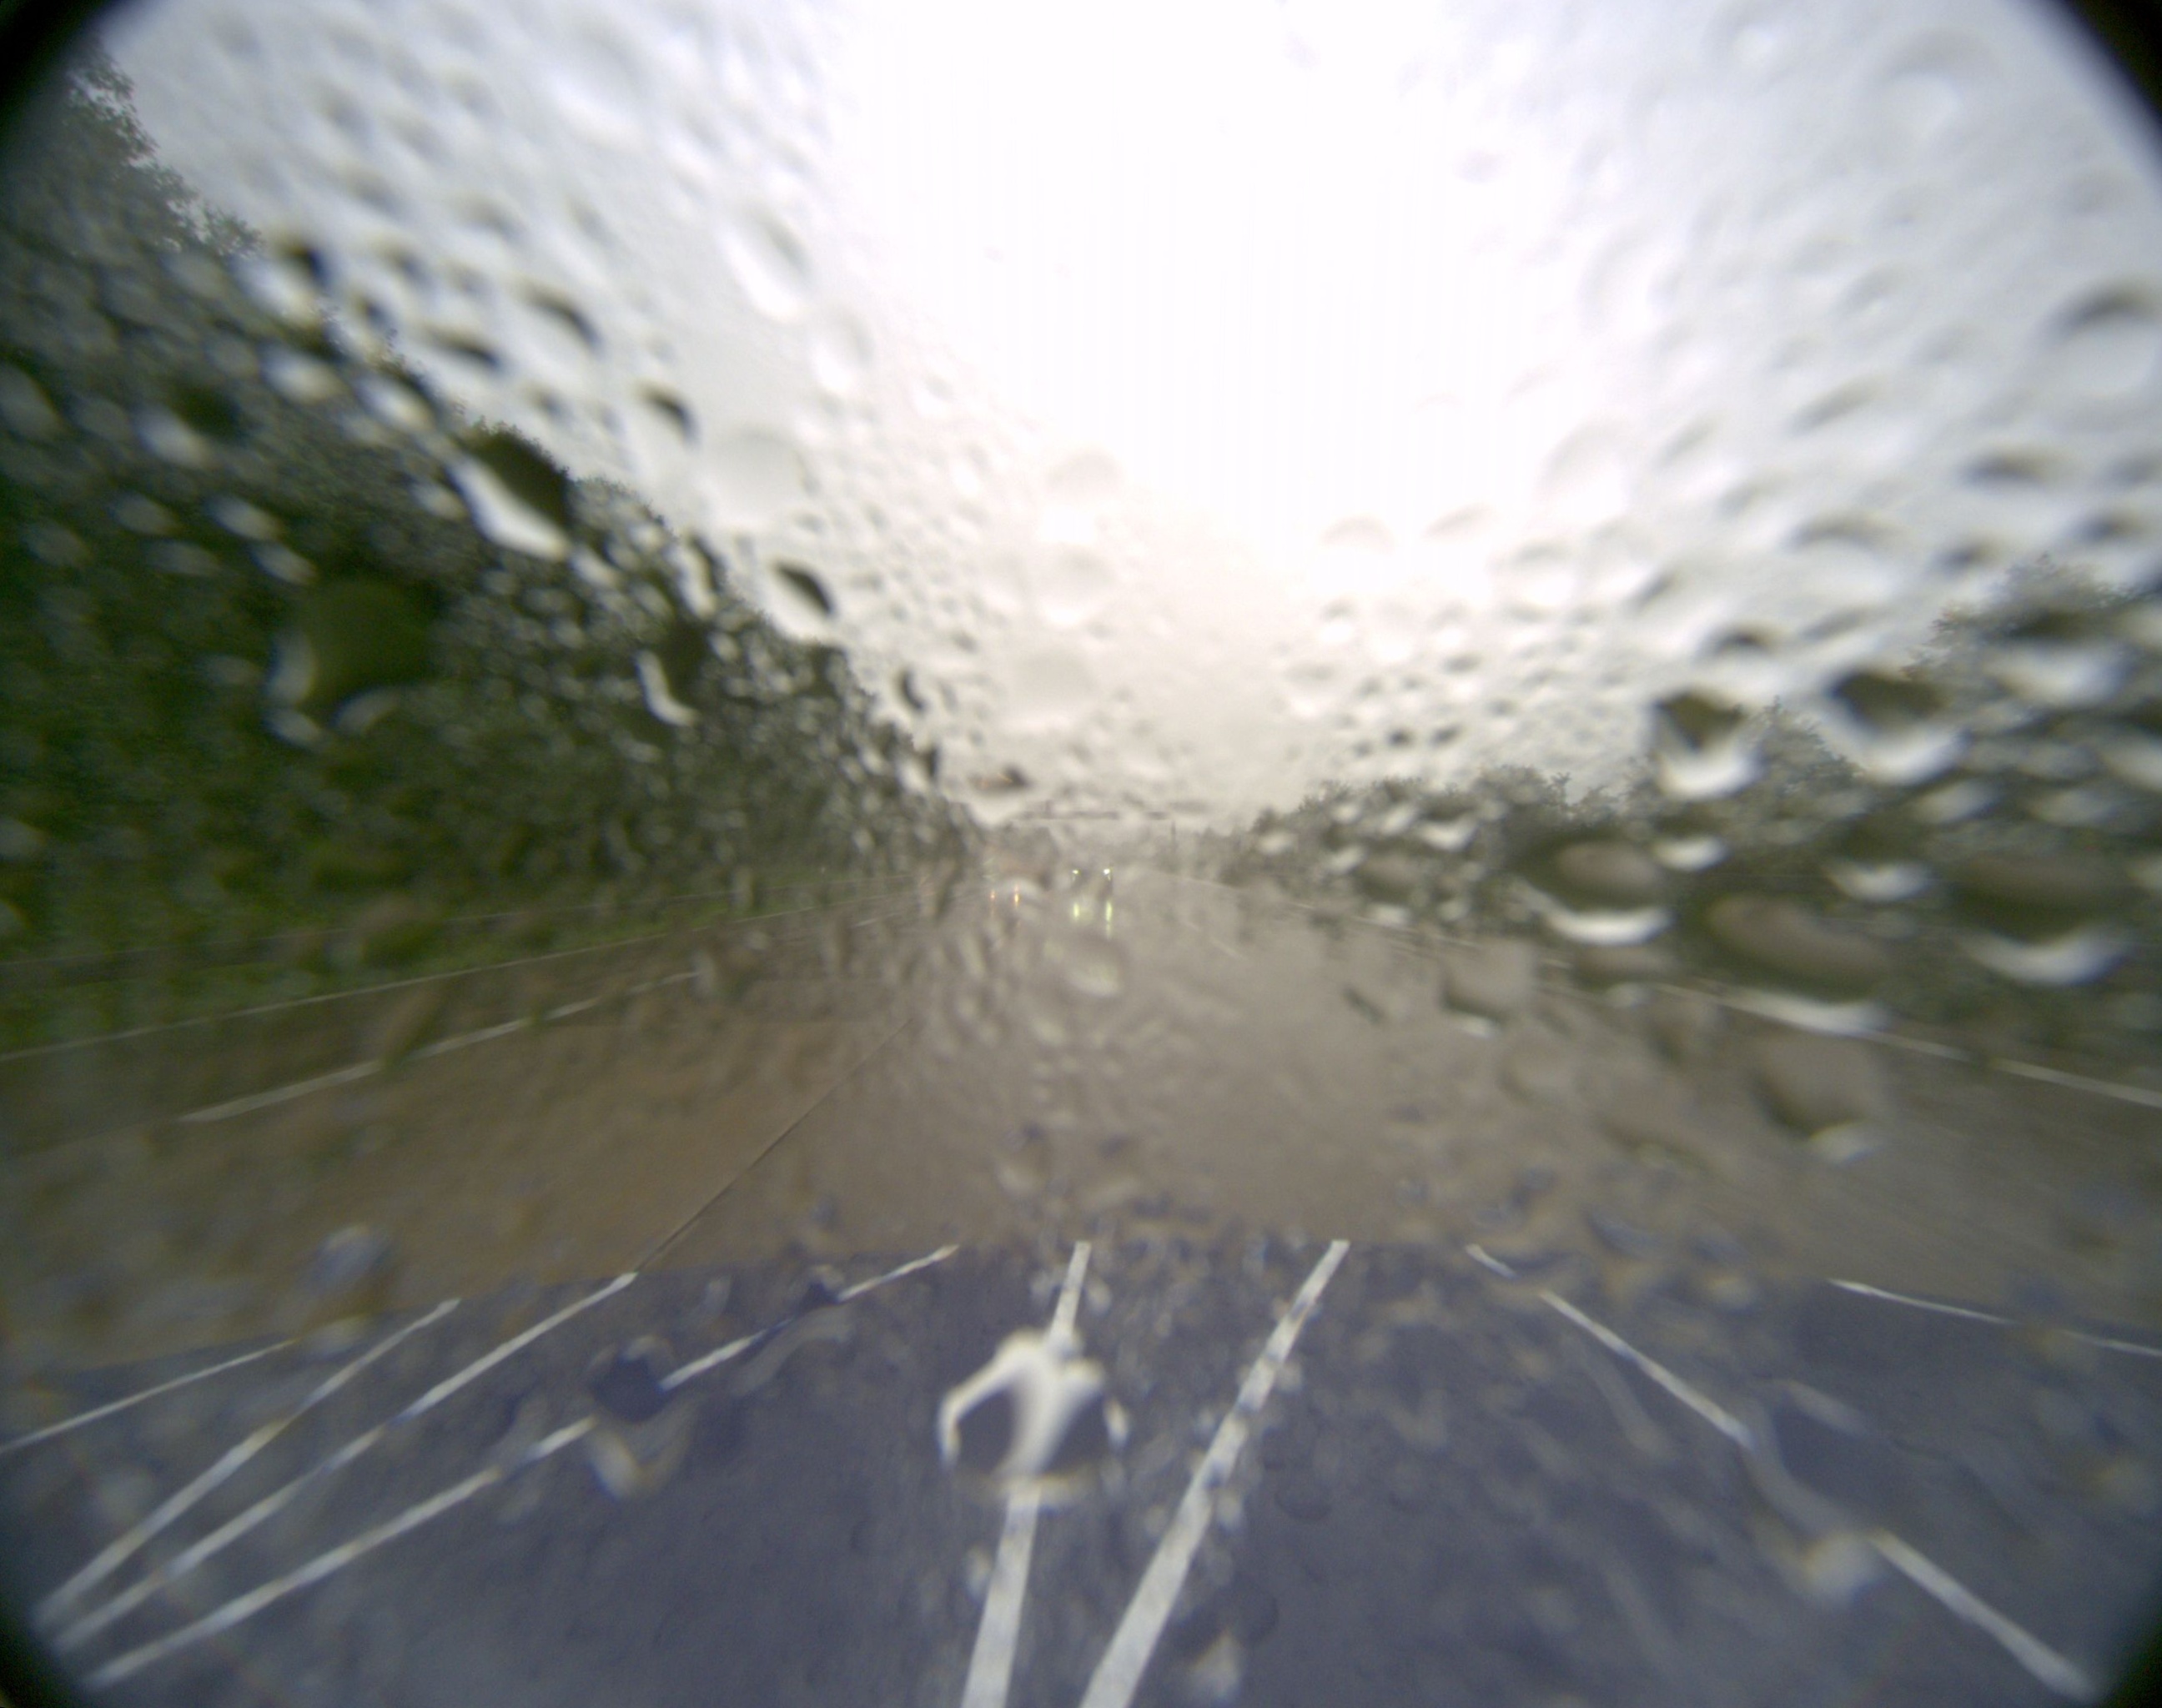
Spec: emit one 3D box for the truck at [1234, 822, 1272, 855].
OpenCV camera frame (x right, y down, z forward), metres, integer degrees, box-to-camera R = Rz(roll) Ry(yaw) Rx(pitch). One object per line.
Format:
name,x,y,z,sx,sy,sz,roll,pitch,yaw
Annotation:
truck,19.390,-1.677,85.917,2.821,3.489,5.730,-2,0,-1

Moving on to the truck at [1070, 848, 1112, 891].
truck,0.486,0.708,39.565,1.998,2.002,7.575,0,0,0

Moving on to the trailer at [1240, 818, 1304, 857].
trailer,19.551,-1.632,78.801,2.859,3.522,13.705,-2,1,-1

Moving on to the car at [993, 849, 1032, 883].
car,-4.378,0.737,48.785,1.859,2.002,4.001,-1,0,3

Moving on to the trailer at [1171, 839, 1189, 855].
trailer,24.366,-1.696,188.431,2.972,3.653,12.285,-1,0,1
